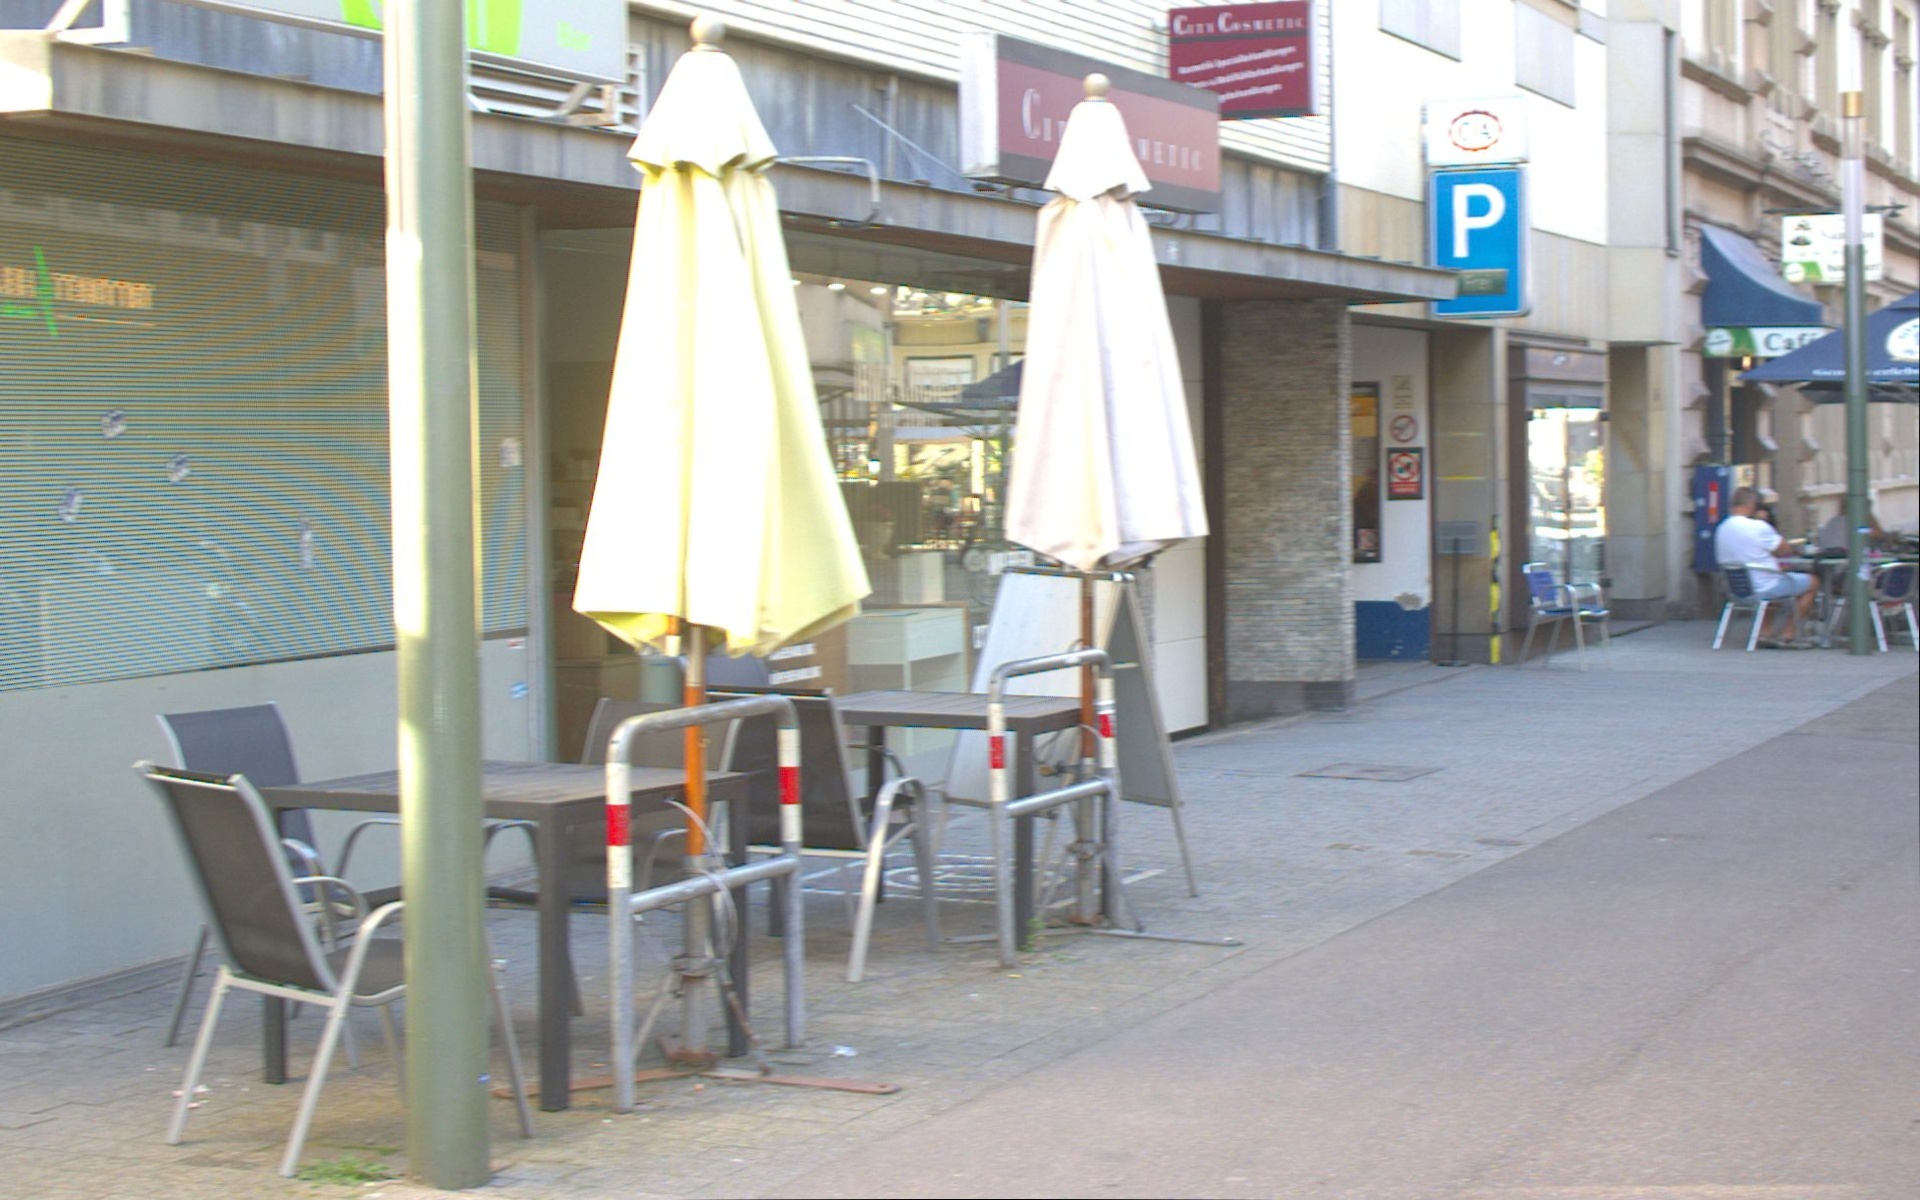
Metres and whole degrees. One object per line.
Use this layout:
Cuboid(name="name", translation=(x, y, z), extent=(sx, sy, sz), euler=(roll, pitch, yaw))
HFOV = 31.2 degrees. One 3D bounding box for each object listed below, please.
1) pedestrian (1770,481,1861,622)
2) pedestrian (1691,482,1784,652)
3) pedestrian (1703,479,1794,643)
Cuboid(name="pedestrian", translation=(7.607, -0.436, 30.547), extent=(0.765, 1.229, 0.831), euler=(0, 2, 15))
Cuboid(name="pedestrian", translation=(6.336, -0.275, 28.025), extent=(0.708, 1.363, 0.719), euler=(0, 2, 11))
Cuboid(name="pedestrian", translation=(6.693, -0.336, 29.207), extent=(0.718, 1.363, 0.710), euler=(0, 2, 11))
